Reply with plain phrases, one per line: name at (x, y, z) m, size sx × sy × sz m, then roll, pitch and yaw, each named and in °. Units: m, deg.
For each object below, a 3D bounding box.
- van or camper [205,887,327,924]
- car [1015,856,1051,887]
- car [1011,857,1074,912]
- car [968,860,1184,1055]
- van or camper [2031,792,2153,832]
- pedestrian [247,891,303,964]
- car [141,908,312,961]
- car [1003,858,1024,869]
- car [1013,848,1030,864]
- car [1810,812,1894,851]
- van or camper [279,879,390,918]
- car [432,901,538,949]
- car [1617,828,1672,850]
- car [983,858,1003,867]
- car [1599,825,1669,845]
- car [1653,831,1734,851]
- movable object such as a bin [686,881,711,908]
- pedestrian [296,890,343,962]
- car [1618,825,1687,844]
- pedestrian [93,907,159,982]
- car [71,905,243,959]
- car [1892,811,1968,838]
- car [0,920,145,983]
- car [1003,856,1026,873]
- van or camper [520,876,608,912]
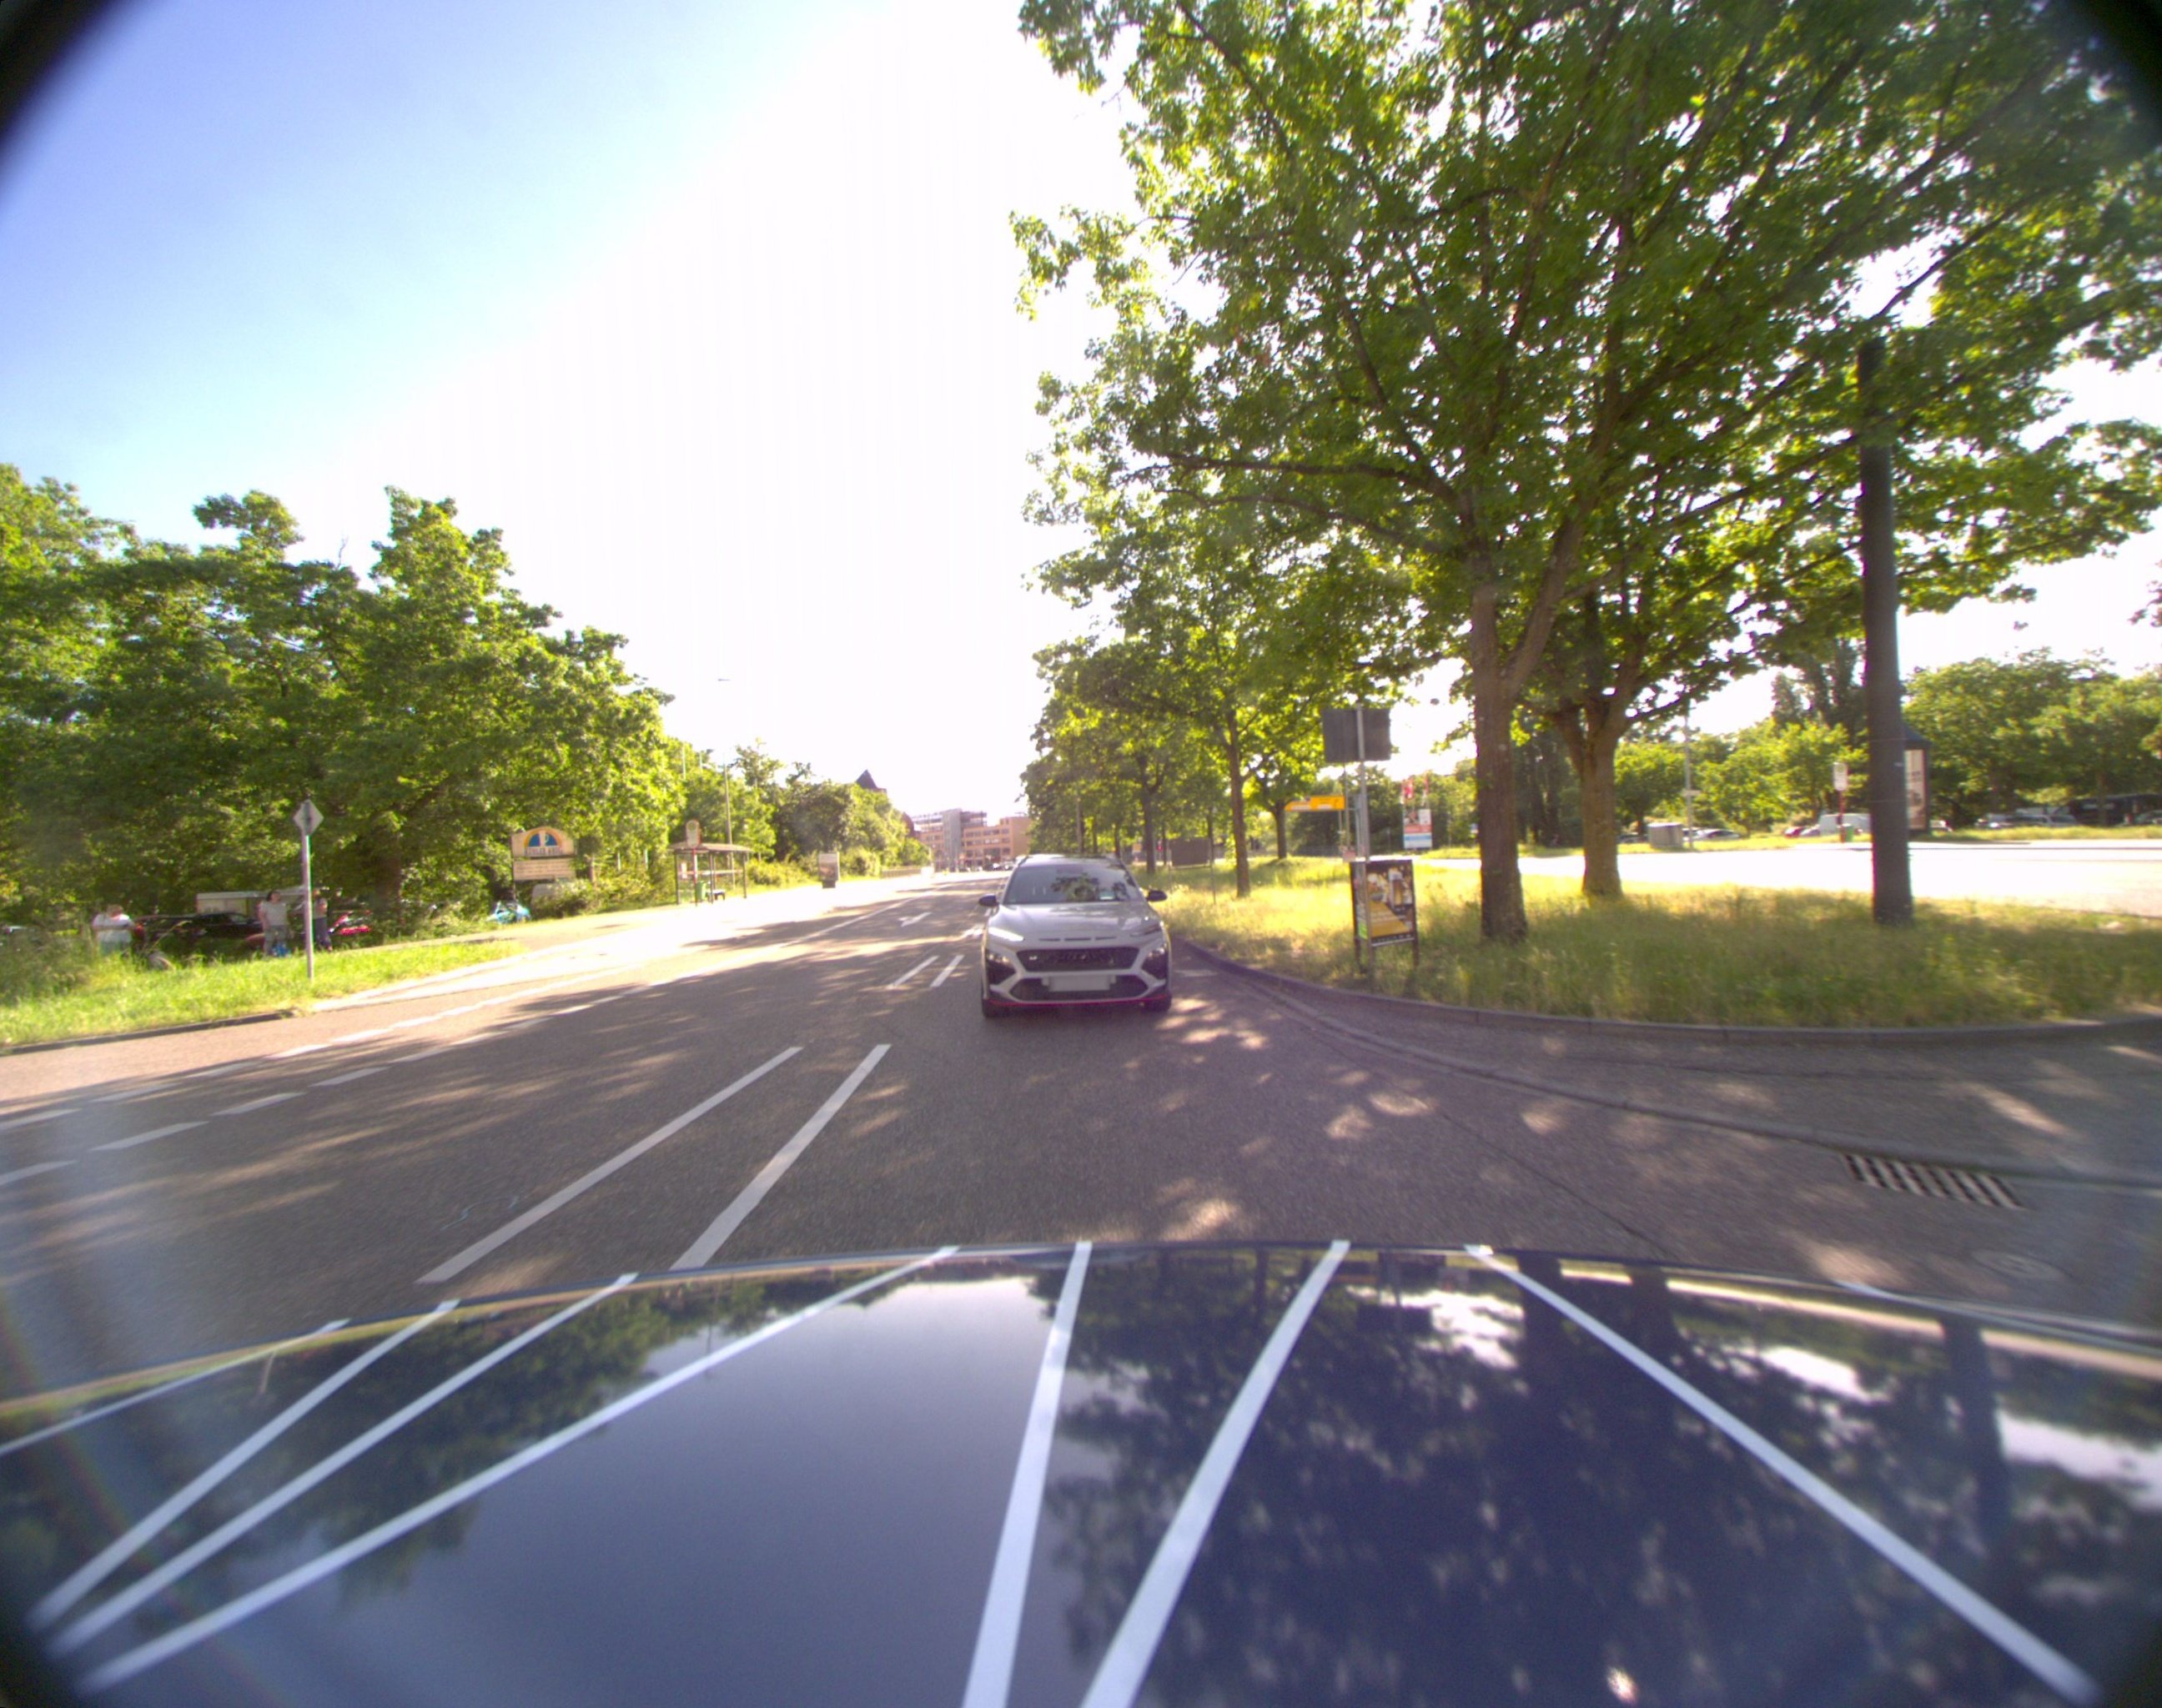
van or camper at (-51.622, 3.202, 48.344) m, size 2.458 × 1.902 × 5.323 m, roll -3°, pitch 0°, yaw -9°
car at (-2.523, 0.885, 40.652) m, size 1.678 × 1.499 × 3.948 m, roll -3°, pitch 0°, yaw -1°
car at (-1.146, 0.903, 24.471) m, size 1.745 × 1.539 × 4.000 m, roll -3°, pitch 0°, yaw 0°
car at (-0.133, 0.901, 8.497) m, size 1.781 × 1.542 × 3.979 m, roll -3°, pitch 0°, yaw -3°
van or camper at (61.491, -2.495, 46.356) m, size 1.997 × 2.084 × 4.405 m, roll -3°, pitch 0°, yaw 11°
pedestrian at (-18.944, 1.715, 17.862) m, size 0.624 × 1.625 × 0.551 m, roll -3°, pitch 1°, yaw -4°
car at (-35.355, 3.278, 31.665) m, size 1.757 × 1.739 × 4.778 m, roll -5°, pitch -2°, yaw -2°
car at (-10.422, 1.475, 116.754) m, size 1.833 × 1.464 × 3.992 m, roll -3°, pitch 0°, yaw -26°
car at (-7.430, 0.266, 95.612) m, size 1.745 × 1.538 × 4.003 m, roll -4°, pitch -4°, yaw 0°
car at (44.814, -1.334, 44.133) m, size 5.007 × 2.002 × 2.234 m, roll -3°, pitch 0°, yaw -30°
van or camper at (-47.932, 2.803, 49.020) m, size 2.459 × 2.146 × 5.323 m, roll -3°, pitch 0°, yaw -11°
car at (-25.662, 3.031, 32.881) m, size 1.767 × 1.628 × 3.612 m, roll -3°, pitch 0°, yaw -3°
car at (41.191, -1.074, 55.687) m, size 1.819 × 1.440 × 4.004 m, roll -3°, pitch 0°, yaw 14°
car at (-18.050, 1.682, 156.254) m, size 3.999 × 1.622 × 1.999 m, roll -3°, pitch 0°, yaw -6°
car at (48.793, -1.679, 67.092) m, size 2.003 × 1.456 × 4.546 m, roll -5°, pitch 1°, yaw -35°
car at (41.055, -0.860, 51.061) m, size 1.822 × 1.122 × 3.996 m, roll -3°, pitch 0°, yaw -12°
movable object such as a bin at (-15.670, 1.644, 31.146) m, size 0.728 × 1.024 × 0.578 m, roll -3°, pitch 1°, yaw -5°
pedestrian at (-18.402, 1.728, 18.368) m, size 0.604 × 1.690 × 0.410 m, roll -3°, pitch 1°, yaw -5°
car at (51.882, -1.748, 69.034) m, size 2.003 × 1.456 × 4.546 m, roll -5°, pitch 1°, yaw -35°
pedestrian at (-20.442, 1.918, 16.267) m, size 0.529 × 1.509 × 0.613 m, roll -3°, pitch 1°, yaw -2°
car at (-37.445, 3.111, 30.981) m, size 1.999 × 1.587 × 3.999 m, roll -4°, pitch 1°, yaw -1°
car at (45.961, -1.600, 41.108) m, size 4.006 × 1.275 × 1.995 m, roll -3°, pitch 0°, yaw -31°
car at (-30.401, 2.848, 21.432) m, size 1.999 × 1.528 × 4.890 m, roll -5°, pitch -2°, yaw -2°
car at (-6.077, 0.937, 69.892) m, size 1.782 × 1.397 × 3.999 m, roll -3°, pitch 0°, yaw -2°
van or camper at (-32.312, 2.466, 47.737) m, size 2.458 × 1.902 × 5.323 m, roll -3°, pitch 0°, yaw -9°
